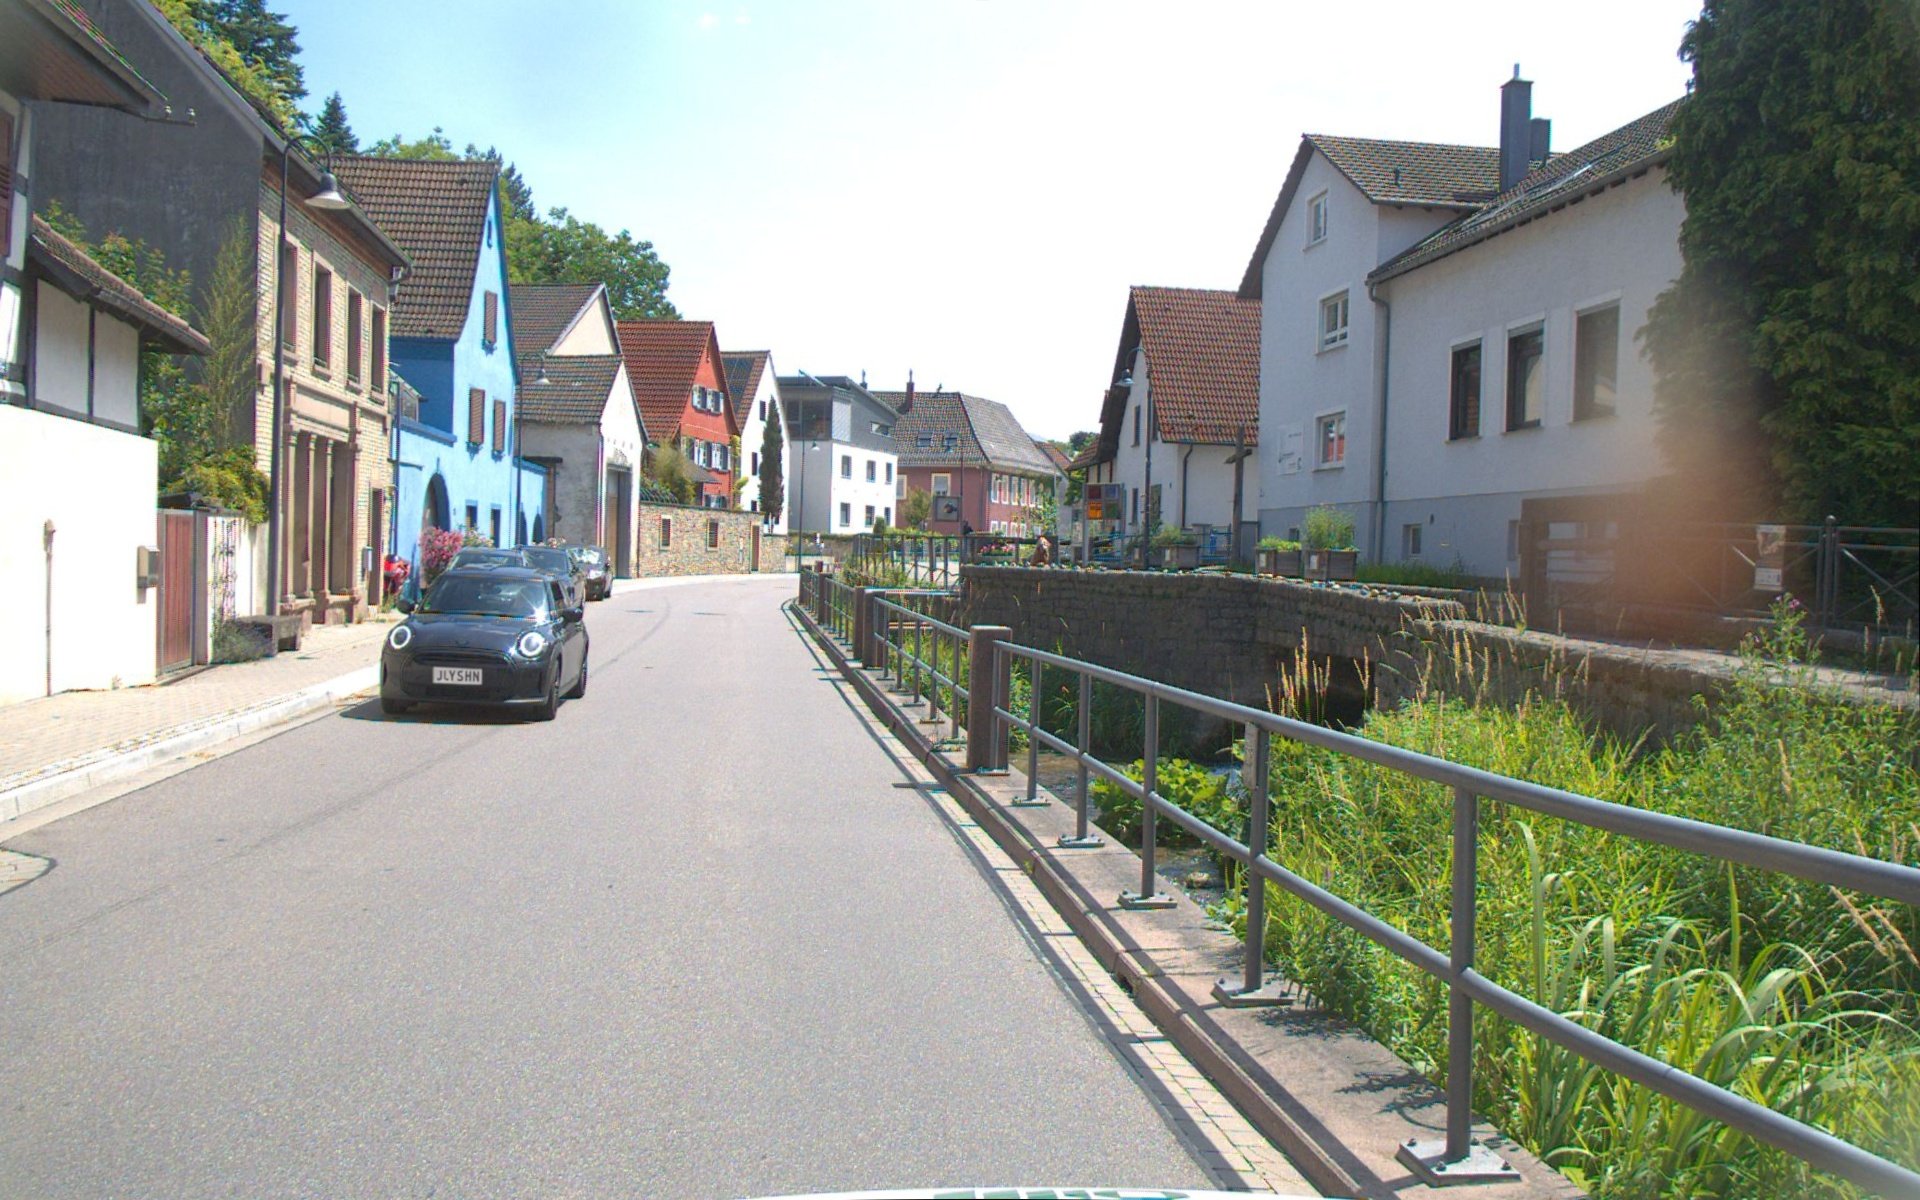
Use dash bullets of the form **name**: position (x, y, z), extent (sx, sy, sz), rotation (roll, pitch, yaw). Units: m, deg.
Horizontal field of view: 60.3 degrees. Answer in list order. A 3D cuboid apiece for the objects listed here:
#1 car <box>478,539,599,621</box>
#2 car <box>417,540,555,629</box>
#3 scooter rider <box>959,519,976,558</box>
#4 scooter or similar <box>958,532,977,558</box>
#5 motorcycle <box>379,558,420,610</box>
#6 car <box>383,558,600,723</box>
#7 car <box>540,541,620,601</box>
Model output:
- **car**: position (-9.198, -0.499, 36.439), extent (1.849, 1.489, 4.663), rotation (5, 2, -7)
- **car**: position (-8.918, -0.322, 31.458), extent (1.920, 1.491, 4.537), rotation (2, 1, -9)
- **scooter rider**: position (0.341, -2.846, 76.258), extent (0.629, 1.761, 0.553), rotation (2, 1, -8)
- **scooter or similar**: position (0.327, -2.525, 76.204), extent (0.629, 1.162, 1.809), rotation (0, 1, -7)
- **motorcycle**: position (-11.643, -0.343, 34.377), extent (0.410, 1.018, 1.855), rotation (6, 0, -9)
- **car**: position (-4.901, 0.352, 17.835), extent (1.667, 1.491, 4.426), rotation (3, 0, -9)
- **car**: position (-10.697, -0.841, 46.750), extent (1.683, 1.556, 3.853), rotation (1, 3, -5)
